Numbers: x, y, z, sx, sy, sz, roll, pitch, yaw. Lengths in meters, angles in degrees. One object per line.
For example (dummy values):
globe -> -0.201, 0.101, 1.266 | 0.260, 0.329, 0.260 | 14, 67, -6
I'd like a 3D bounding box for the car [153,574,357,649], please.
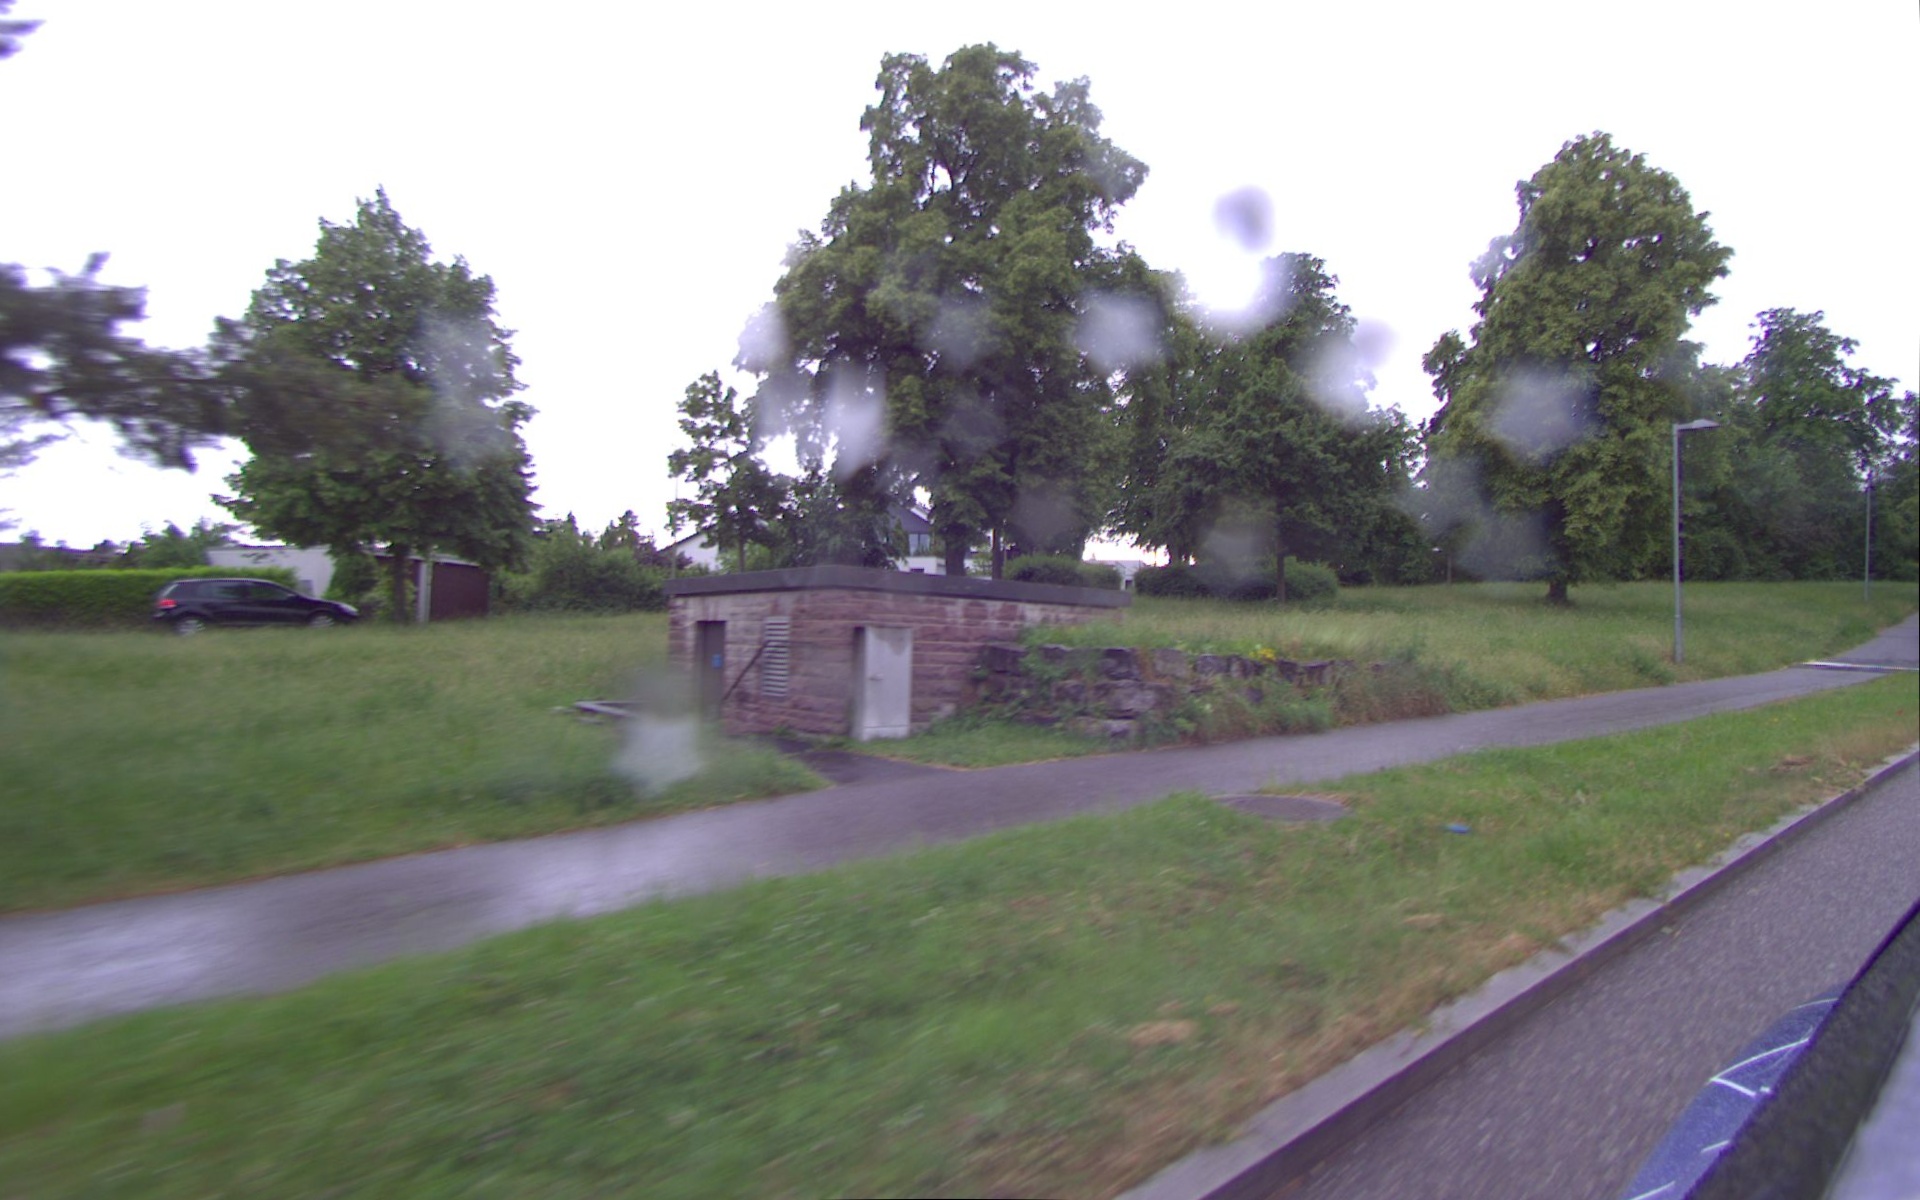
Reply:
car -> -16.982, 0.269, 24.516 | 3.925, 1.673, 1.831 | 0, 0, -37
